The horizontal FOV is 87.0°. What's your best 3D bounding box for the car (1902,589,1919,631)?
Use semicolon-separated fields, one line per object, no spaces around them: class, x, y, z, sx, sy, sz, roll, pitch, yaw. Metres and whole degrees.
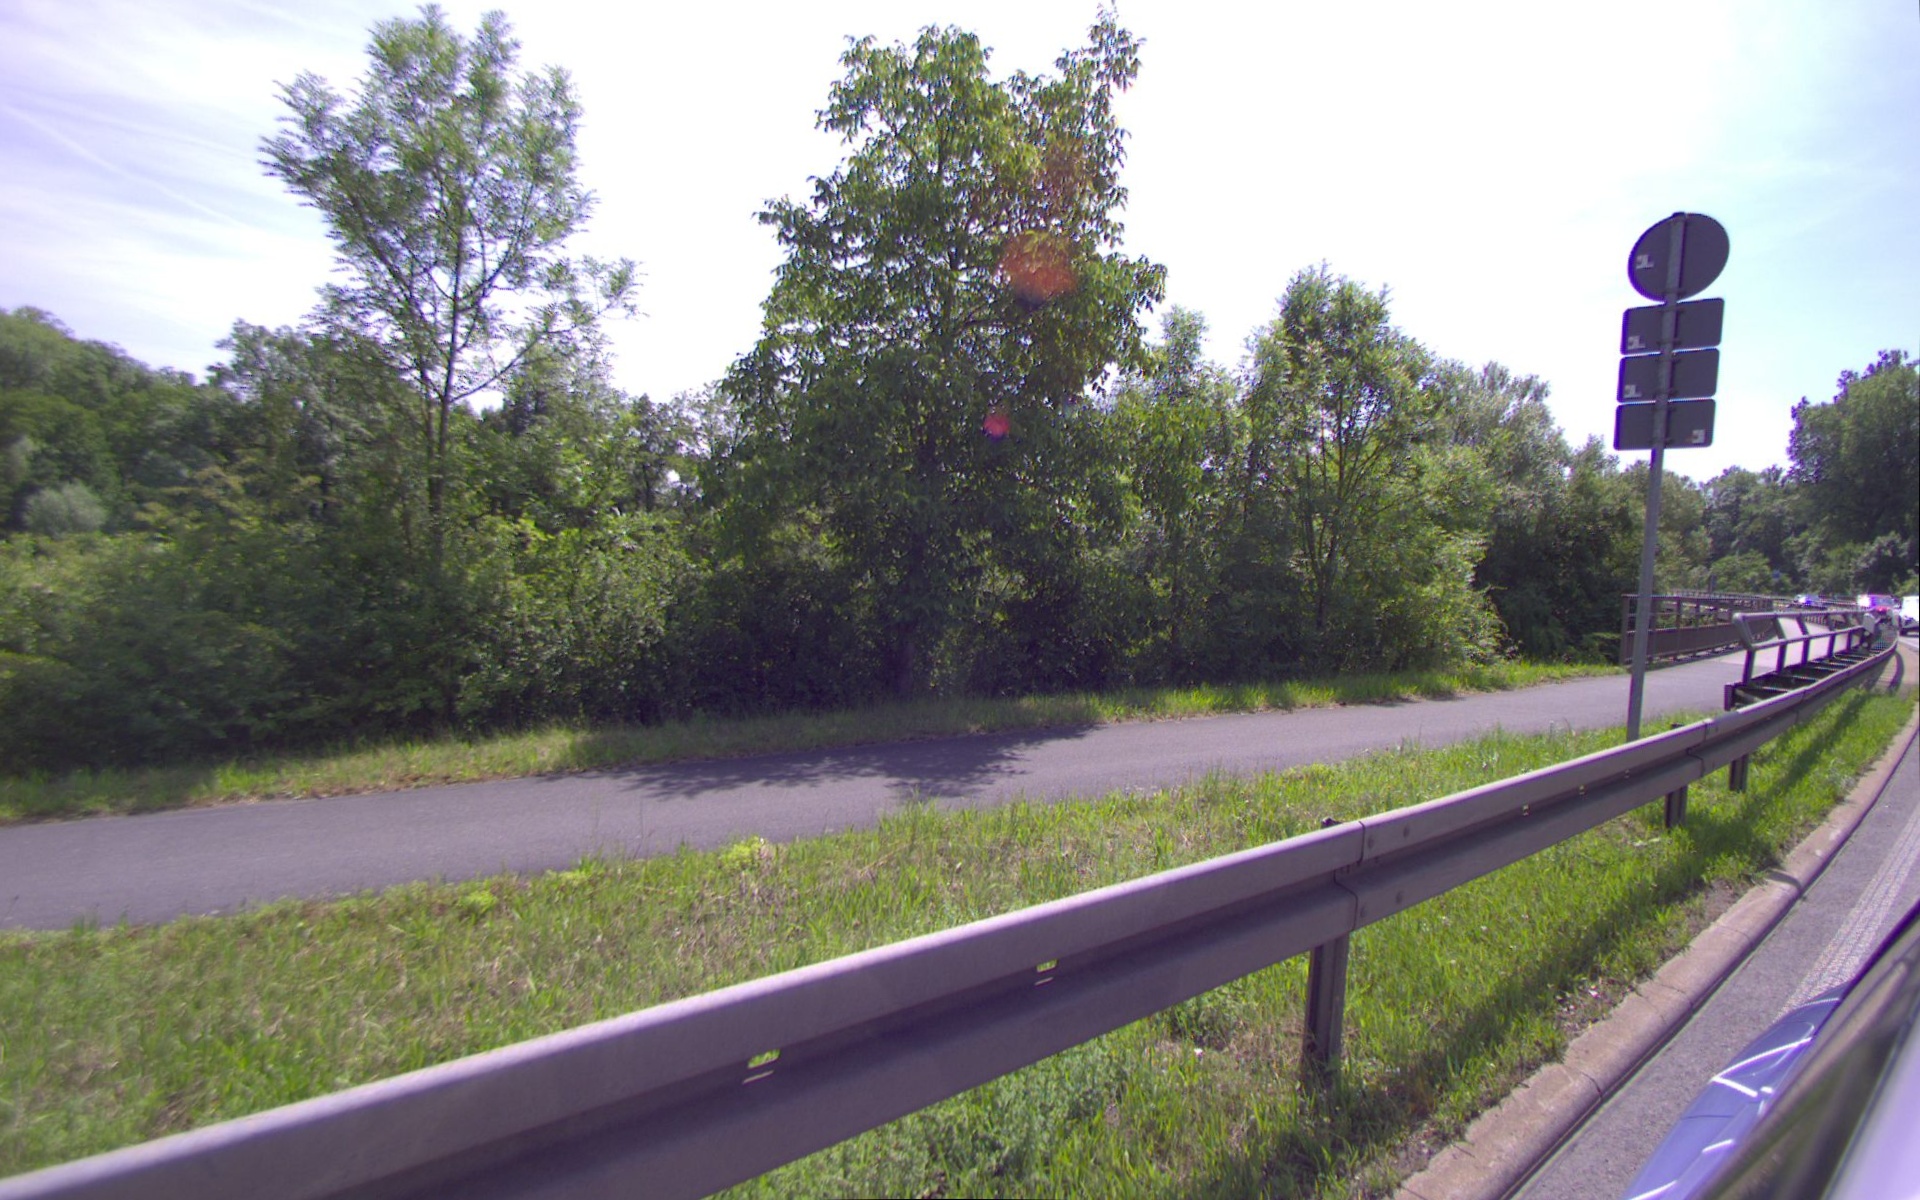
car;40.210;0.421;41.501;1.900;1.668;3.897;1;0;37

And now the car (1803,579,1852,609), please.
car;60.962;-0.431;71.176;1.984;2.039;3.957;0;1;31

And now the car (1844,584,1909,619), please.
car;48.725;0.081;53.885;1.986;1.798;3.951;1;0;34
